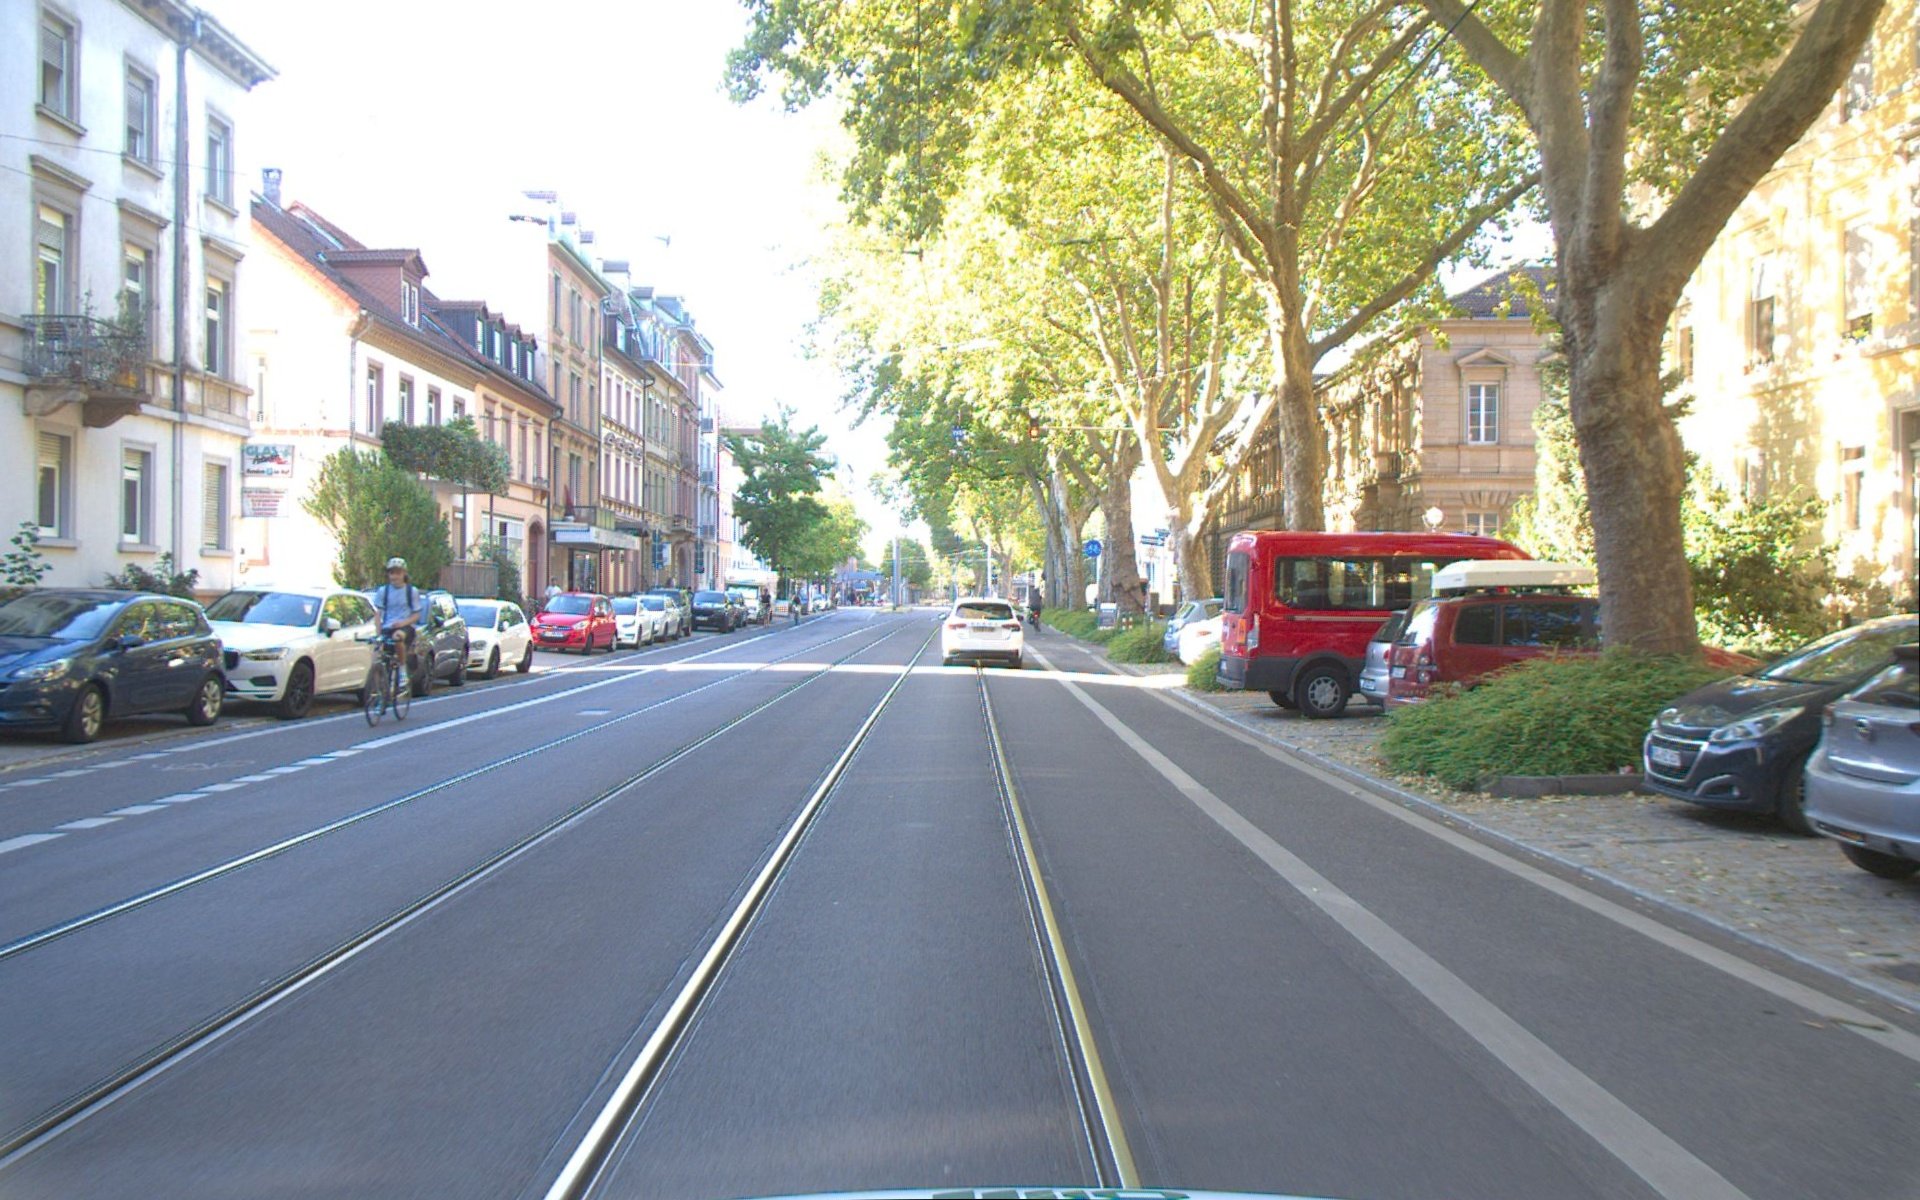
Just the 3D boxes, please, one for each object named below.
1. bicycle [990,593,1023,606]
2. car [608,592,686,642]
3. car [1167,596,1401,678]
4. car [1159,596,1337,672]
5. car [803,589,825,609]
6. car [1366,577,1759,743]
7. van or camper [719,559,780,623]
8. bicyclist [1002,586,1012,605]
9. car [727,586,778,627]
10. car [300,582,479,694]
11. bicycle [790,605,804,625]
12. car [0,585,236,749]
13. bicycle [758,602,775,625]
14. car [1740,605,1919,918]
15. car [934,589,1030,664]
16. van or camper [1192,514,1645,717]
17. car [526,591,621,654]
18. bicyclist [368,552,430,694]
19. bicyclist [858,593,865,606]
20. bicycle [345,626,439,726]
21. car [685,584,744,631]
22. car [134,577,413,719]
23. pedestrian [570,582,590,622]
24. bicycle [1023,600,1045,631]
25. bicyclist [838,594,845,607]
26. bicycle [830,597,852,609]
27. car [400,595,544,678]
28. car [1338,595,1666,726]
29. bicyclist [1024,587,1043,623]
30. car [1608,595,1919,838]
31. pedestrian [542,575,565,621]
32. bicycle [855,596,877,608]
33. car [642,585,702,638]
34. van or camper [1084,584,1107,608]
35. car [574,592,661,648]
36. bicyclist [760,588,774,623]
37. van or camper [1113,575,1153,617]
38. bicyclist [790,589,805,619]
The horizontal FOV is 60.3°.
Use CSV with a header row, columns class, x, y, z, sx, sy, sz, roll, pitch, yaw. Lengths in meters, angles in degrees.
class,x,y,z,sx,sy,sz,roll,pitch,yaw
bicycle,3.981,-0.054,142.144,2.711,1.017,0.593,2,0,14
car,-10.195,0.533,54.204,1.790,1.529,4.448,2,0,-2
car,6.254,0.701,32.246,4.198,1.442,1.760,-1,0,0
car,6.453,0.741,37.320,3.675,1.534,1.681,2,0,-1
car,-13.416,-0.079,151.806,1.758,1.756,3.782,1,0,-2
car,6.705,0.652,18.647,3.743,1.678,1.766,-1,-1,-4
van or camper,-11.192,-0.462,88.437,2.171,3.195,7.114,1,0,1
bicyclist,4.035,-0.364,142.126,0.721,1.617,0.587,0,0,11
car,-9.696,0.306,77.493,1.925,1.812,4.469,1,0,-2
car,-9.478,0.576,27.858,1.821,1.733,4.653,0,0,-6
bicycle,-8.174,0.761,83.105,0.488,0.959,1.921,-1,0,1
car,-9.329,0.622,17.509,1.522,1.542,3.924,0,0,1
bicycle,-9.199,0.640,78.683,0.474,1.066,2.039,-1,0,1
car,6.530,0.790,9.247,3.522,1.544,1.693,-1,0,-1
car,0.415,0.547,35.807,1.806,1.506,3.836,1,0,-3
van or camper,6.336,0.176,23.343,5.699,2.563,2.286,-2,1,-3
car,-10.089,0.560,43.393,1.536,1.590,3.450,0,0,3
bicyclist,-6.719,0.267,19.832,0.463,1.664,0.800,0,0,0
bicyclist,-11.600,-0.066,195.130,0.626,1.549,0.602,-1,1,-35
bicycle,-6.726,0.877,19.667,0.471,1.105,1.846,0,0,0
car,-10.429,0.305,70.609,1.925,1.812,4.935,3,0,-3
car,-9.170,0.577,22.582,1.818,1.733,4.762,0,0,0
pedestrian,-14.182,0.068,61.714,0.625,1.486,0.654,2,0,-17
bicycle,2.881,0.611,64.858,0.666,1.175,2.964,2,0,-1
bicyclist,-13.920,0.052,193.640,0.626,1.549,0.602,-1,1,-35
bicycle,-13.894,0.331,193.653,2.658,1.351,0.607,0,0,-36
car,-9.705,0.688,33.218,1.652,1.502,4.257,2,0,-1
car,6.902,0.736,21.278,3.660,1.556,1.668,-1,0,-4
bicyclist,2.887,0.202,64.840,0.665,1.362,0.525,2,0,-1
car,6.893,0.769,12.111,3.596,1.550,1.693,-2,0,-1
pedestrian,-15.089,-0.072,61.351,0.759,1.662,0.654,2,0,-17
bicycle,-11.131,0.215,195.484,2.658,1.351,0.607,0,0,-36
car,-10.159,0.381,58.575,1.524,1.762,3.684,2,0,-2
van or camper,13.874,-0.395,169.117,1.953,2.384,4.000,2,0,0
car,-10.035,0.542,48.791,1.791,1.529,4.685,2,0,-3
bicyclist,-9.206,0.266,78.819,0.524,1.663,0.896,-2,0,1
van or camper,10.806,-0.227,103.533,1.985,2.507,5.109,2,0,1
bicyclist,-8.183,0.204,83.247,0.625,1.529,1.069,-1,0,0
